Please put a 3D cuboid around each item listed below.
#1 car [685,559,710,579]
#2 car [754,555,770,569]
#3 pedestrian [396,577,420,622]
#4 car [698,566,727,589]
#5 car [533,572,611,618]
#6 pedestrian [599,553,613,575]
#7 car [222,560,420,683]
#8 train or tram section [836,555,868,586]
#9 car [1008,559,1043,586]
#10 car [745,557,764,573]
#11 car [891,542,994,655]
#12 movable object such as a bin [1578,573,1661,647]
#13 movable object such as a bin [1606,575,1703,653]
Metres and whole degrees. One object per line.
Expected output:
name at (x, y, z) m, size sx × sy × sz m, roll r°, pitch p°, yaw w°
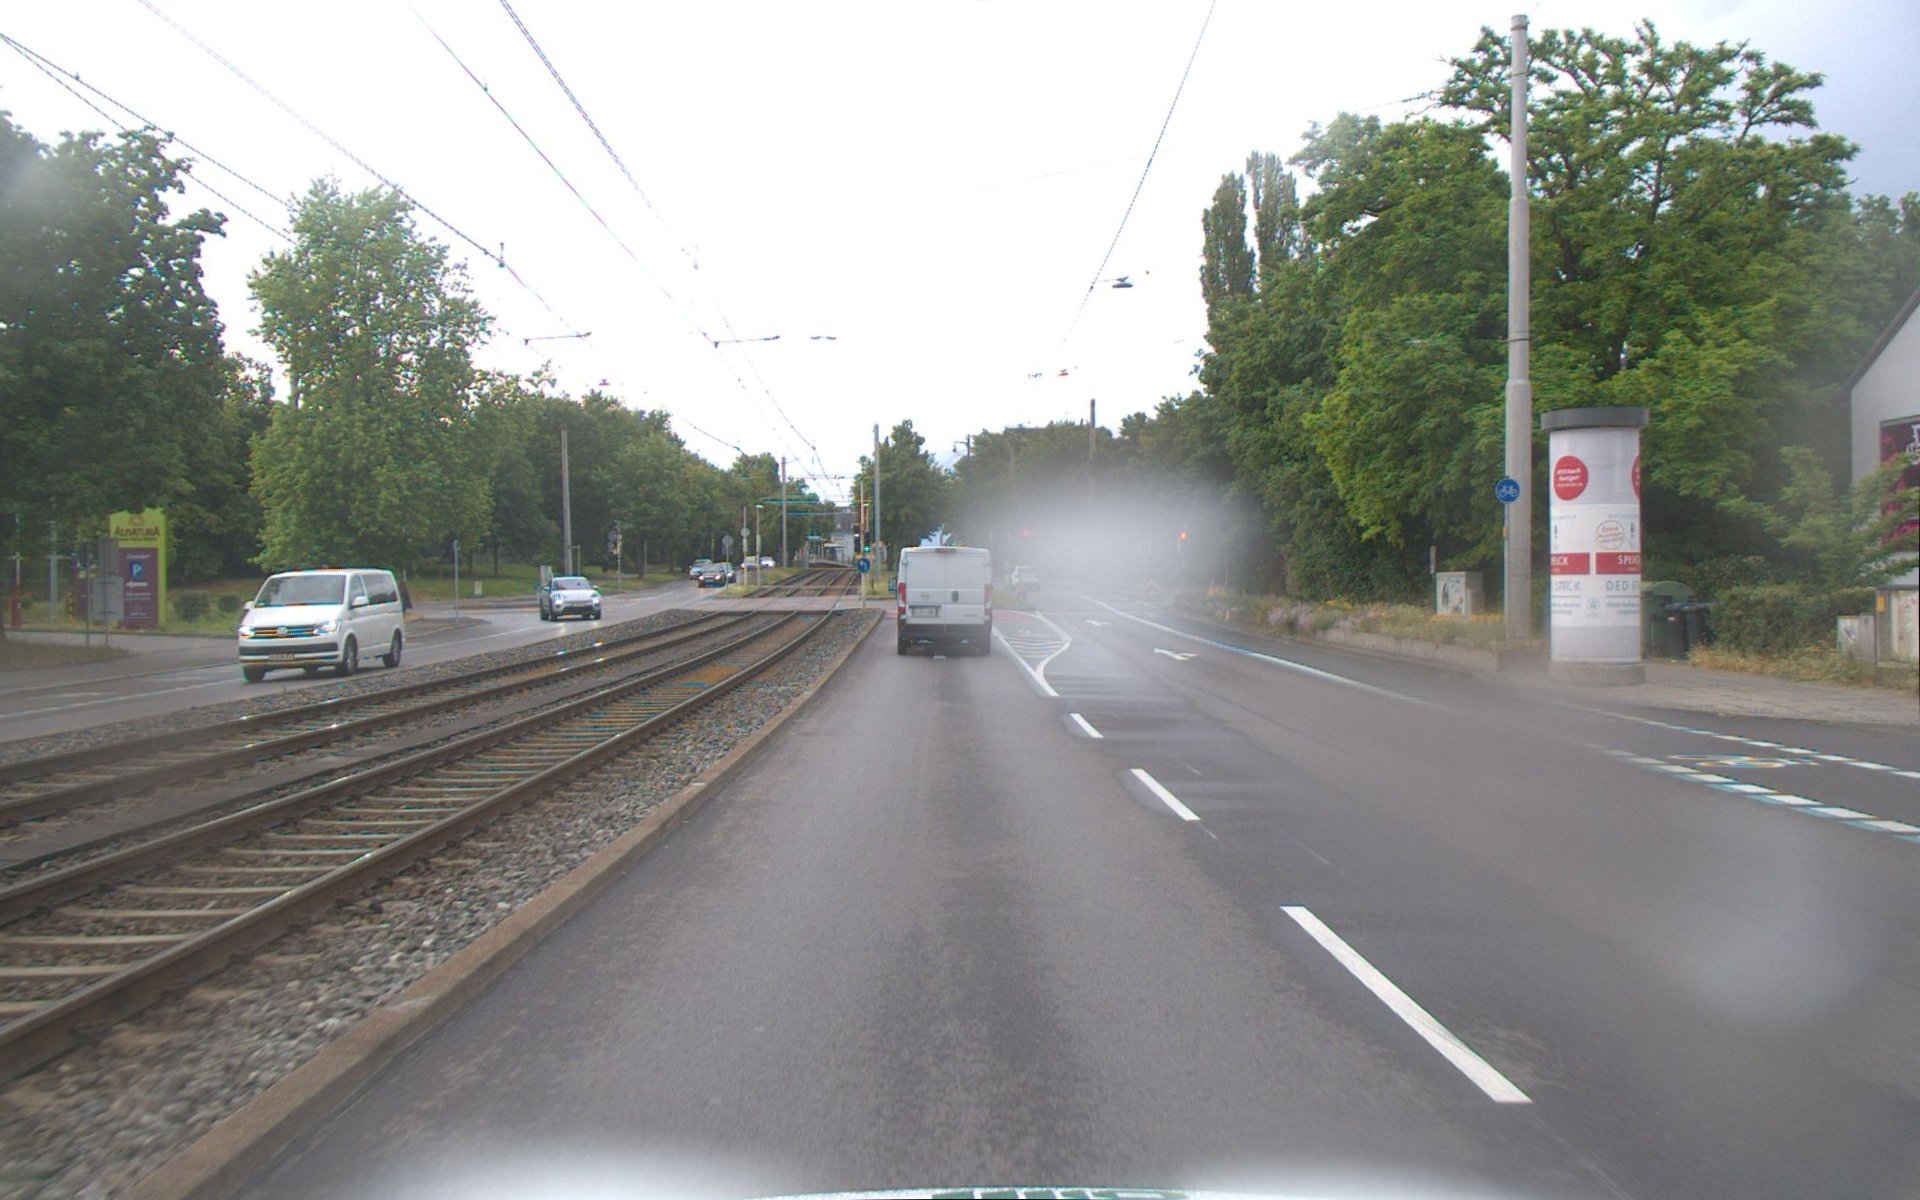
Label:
car at (-22.022, -2.591, 138.926) m, size 1.685 × 1.580 × 3.861 m, roll -1°, pitch 2°, yaw -4°
car at (-21.983, -4.243, 184.015) m, size 1.569 × 1.426 × 3.790 m, roll 1°, pitch 2°, yaw -4°
pedestrian at (-19.159, -0.006, 57.411) m, size 0.579 × 1.559 × 0.668 m, roll 1°, pitch -1°, yaw -3°
car at (-16.810, -1.548, 112.443) m, size 1.569 × 1.426 × 3.790 m, roll 1°, pitch 2°, yaw -4°
car at (-15.319, -0.197, 65.117) m, size 1.969 × 1.678 × 4.720 m, roll -3°, pitch 1°, yaw -26°
pedestrian at (-26.744, -2.694, 124.956) m, size 0.994 × 1.628 × 1.038 m, roll -1°, pitch 2°, yaw -9°
car at (-12.065, 0.333, 31.626) m, size 1.954 × 2.048 × 5.057 m, roll -3°, pitch 1°, yaw -3°
train or tram section at (-15.248, -4.167, 234.693) m, size 3.978 × 3.962 × 15.032 m, roll 1°, pitch 0°, yaw -2°
car at (3.935, -1.681, 100.118) m, size 1.670 × 1.548 × 3.789 m, roll 1°, pitch 2°, yaw -5°
car at (-20.069, -3.451, 161.370) m, size 1.569 × 1.426 × 3.790 m, roll 1°, pitch 2°, yaw -4°
car at (-0.463, -0.076, 36.644) m, size 2.103 × 2.323 × 5.061 m, roll 0°, pitch 1°, yaw -2°
movable object such as a bin at (13.268, 0.207, 33.305) m, size 1.161 × 1.443 × 1.134 m, roll 1°, pitch -1°, yaw -4°
movable object such as a bin at (13.334, 0.273, 31.805) m, size 1.285 × 1.443 × 1.299 m, roll 1°, pitch -1°, yaw -4°
